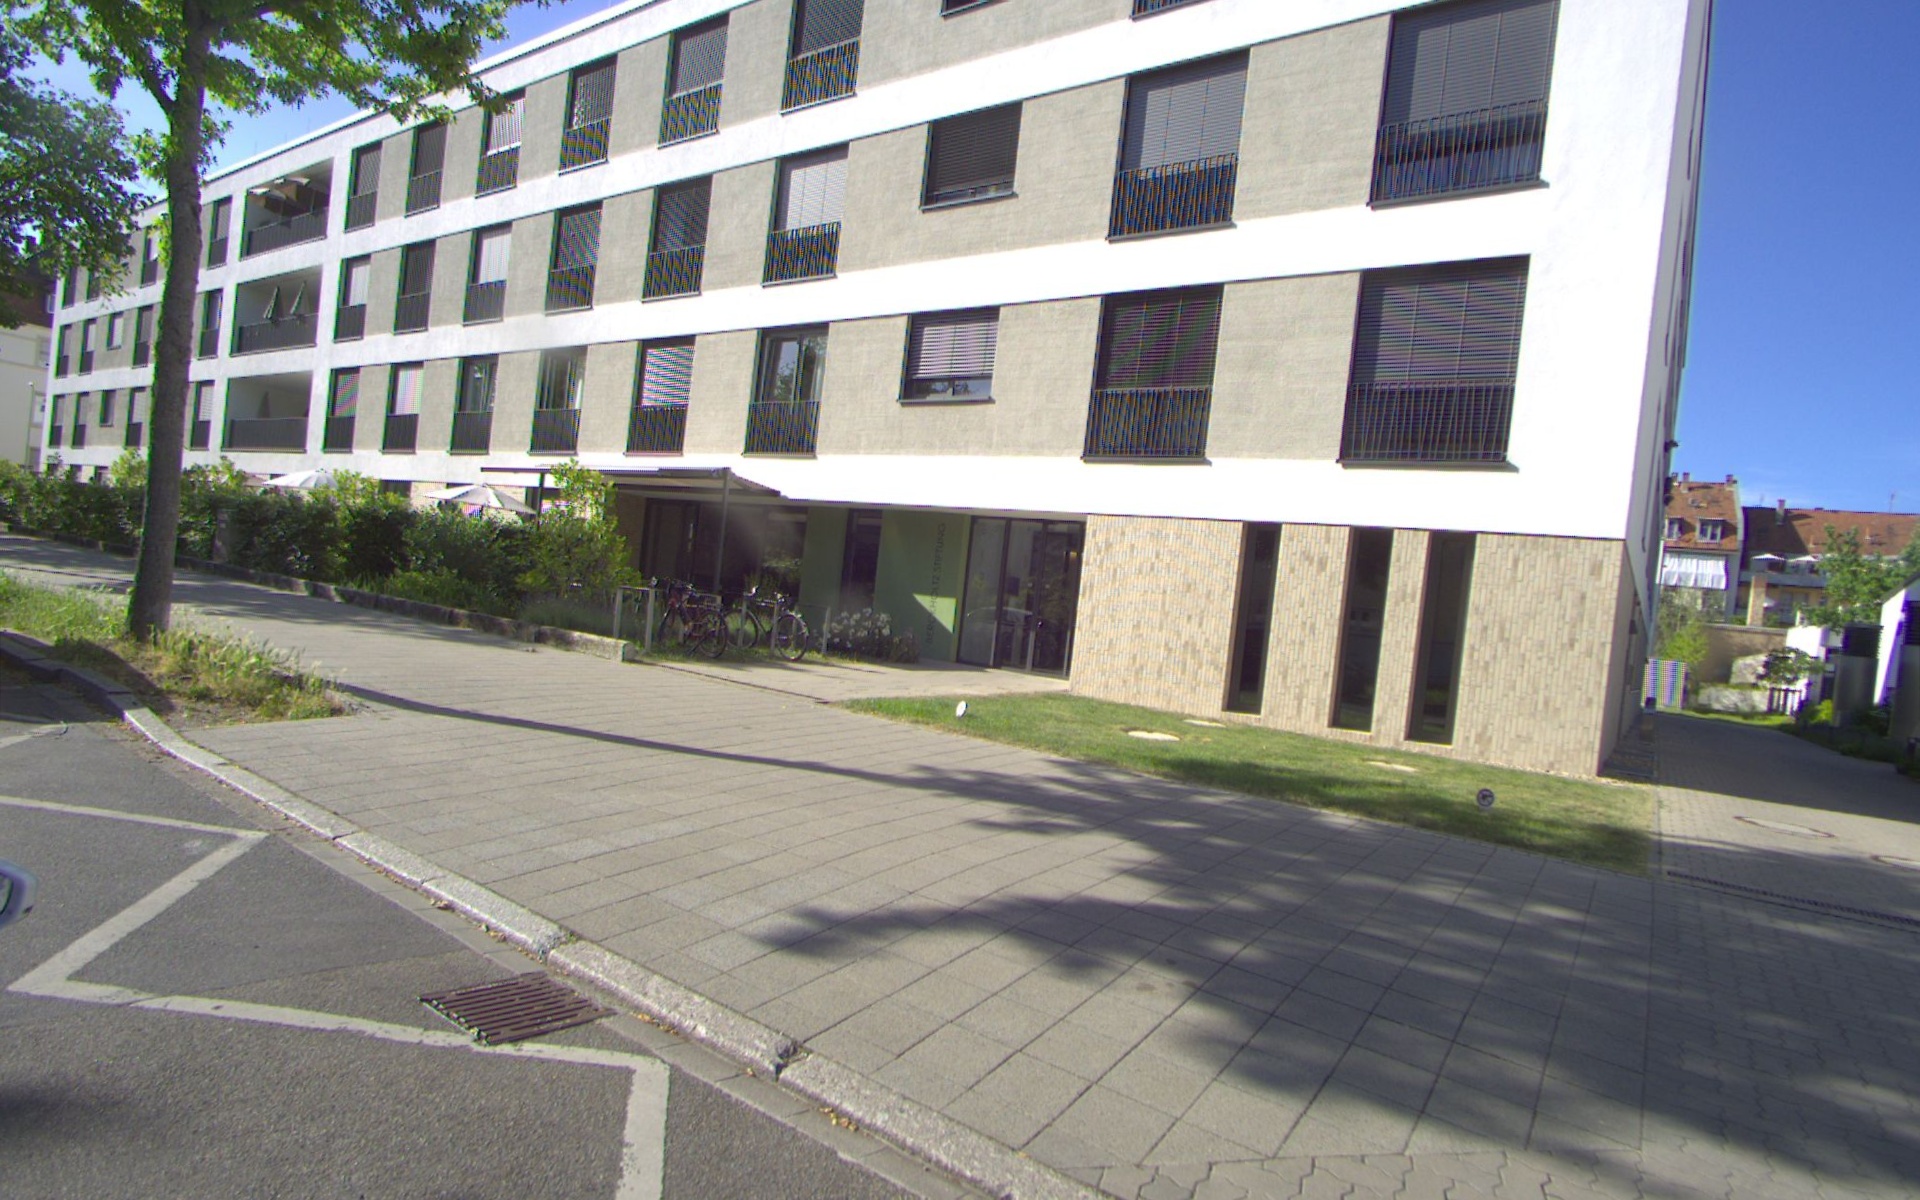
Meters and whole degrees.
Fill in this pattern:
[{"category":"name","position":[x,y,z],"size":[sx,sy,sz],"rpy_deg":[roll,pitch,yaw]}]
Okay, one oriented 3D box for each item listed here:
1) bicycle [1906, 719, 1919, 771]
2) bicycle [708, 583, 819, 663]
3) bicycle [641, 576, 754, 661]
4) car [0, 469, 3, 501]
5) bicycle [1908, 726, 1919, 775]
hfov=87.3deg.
[{"category":"bicycle","position":[22.255,3.347,21.855],"size":[0.653,1.138,2.291],"rpy_deg":[5,1,-33]},{"category":"bicycle","position":[-3.109,0.348,15.860],"size":[1.751,1.069,0.546],"rpy_deg":[6,2,33]},{"category":"bicycle","position":[-3.857,0.264,14.721],"size":[1.664,1.069,0.546],"rpy_deg":[6,2,33]},{"category":"car","position":[-9.891,-0.458,8.506],"size":[4.344,1.650,1.848],"rpy_deg":[6,-1,37]},{"category":"bicycle","position":[20.100,3.119,19.570],"size":[2.277,0.936,0.657],"rpy_deg":[7,1,38]}]
